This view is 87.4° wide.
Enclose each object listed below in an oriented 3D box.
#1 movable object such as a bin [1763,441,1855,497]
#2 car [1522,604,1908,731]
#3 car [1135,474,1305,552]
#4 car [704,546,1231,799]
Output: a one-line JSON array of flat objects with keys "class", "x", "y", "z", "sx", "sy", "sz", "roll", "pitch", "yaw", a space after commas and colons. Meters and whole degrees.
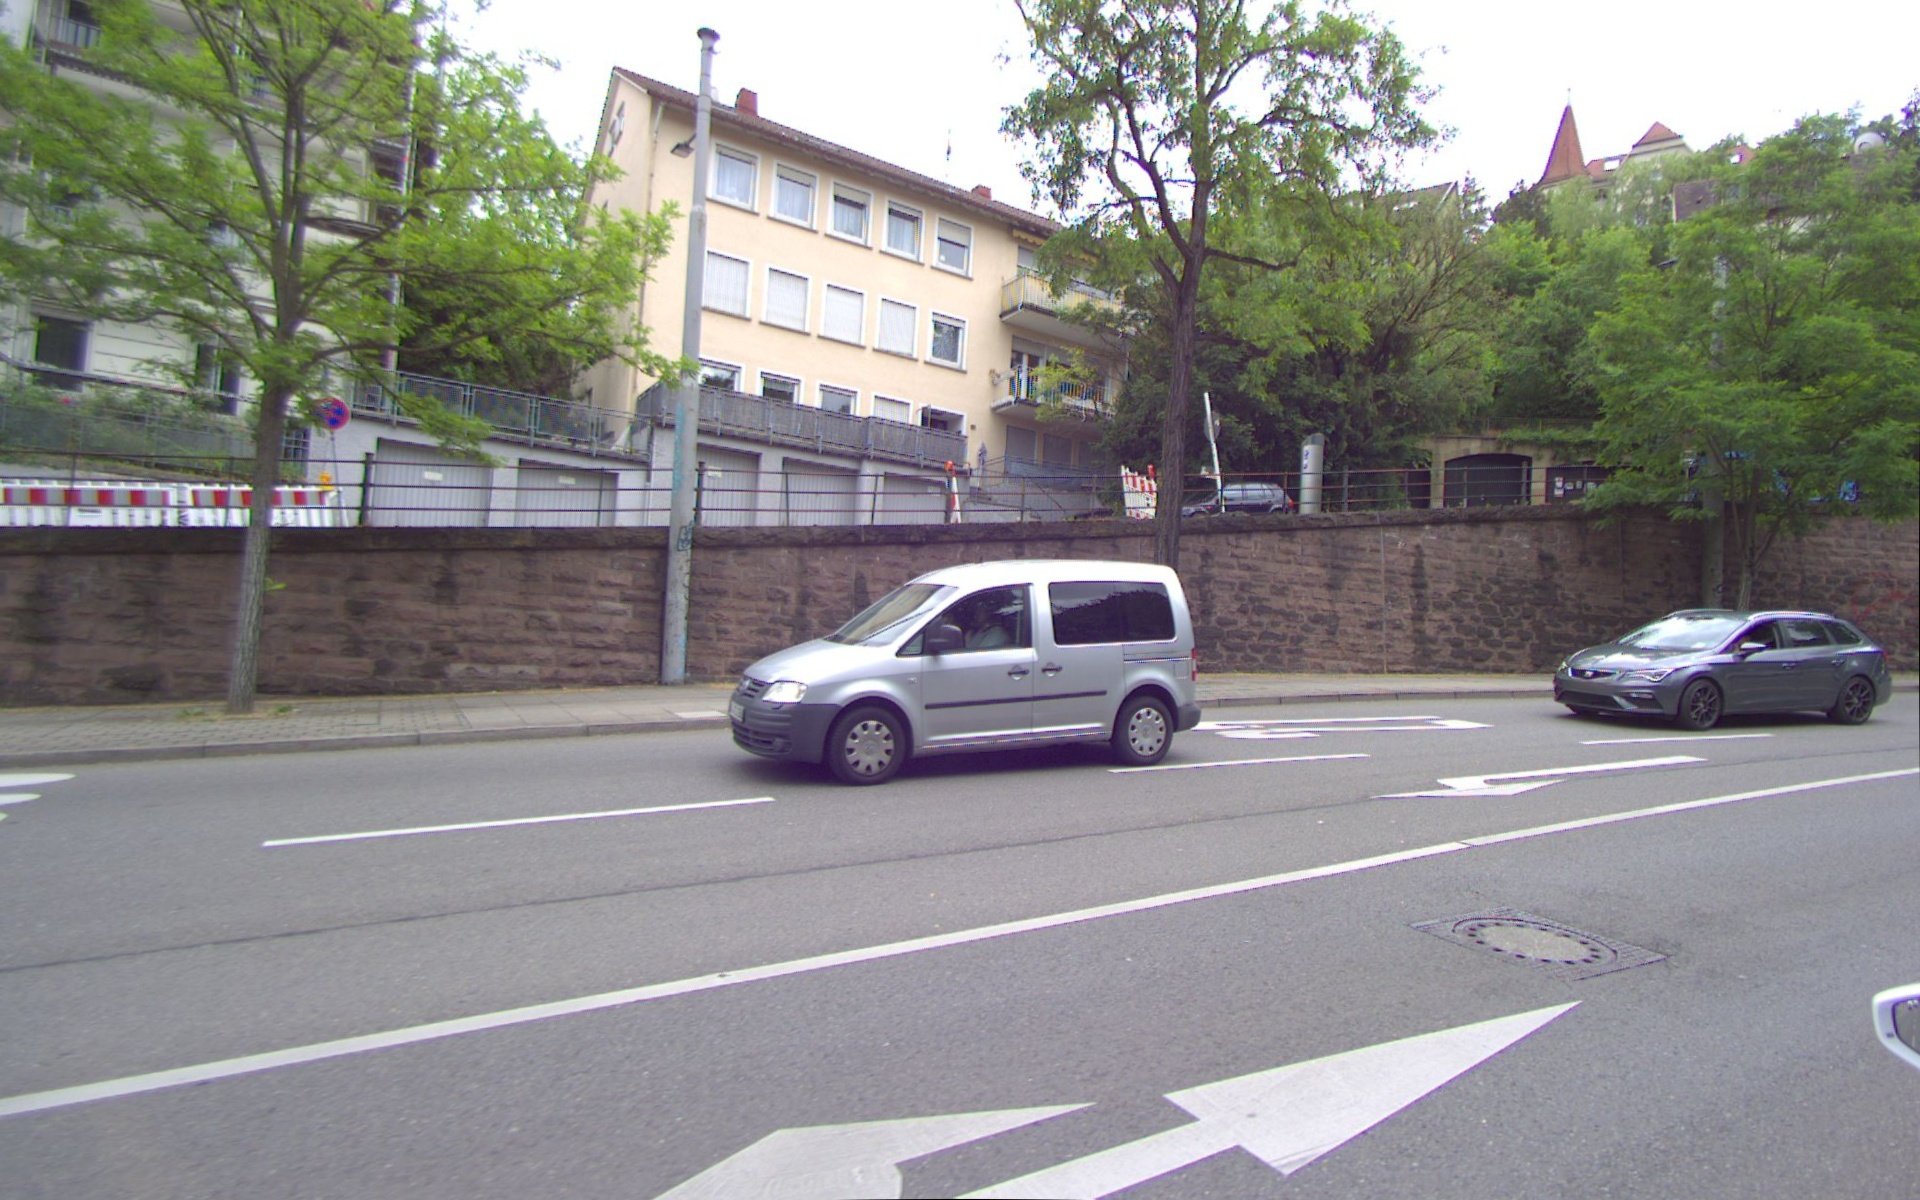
[{"class": "movable object such as a bin", "x": 24.654, "y": -3.792, "z": 29.215, "sx": 1.572, "sy": 1.373, "sz": 1.254, "roll": -1, "pitch": -3, "yaw": 7}, {"class": "car", "x": 9.966, "y": 0.827, "z": 13.350, "sx": 4.328, "sy": 1.486, "sz": 1.784, "roll": 1, "pitch": 0, "yaw": -14}, {"class": "car", "x": 6.812, "y": -2.234, "z": 26.402, "sx": 4.001, "sy": 1.661, "sz": 1.767, "roll": 2, "pitch": -1, "yaw": -19}, {"class": "car", "x": 0.108, "y": 0.539, "z": 9.084, "sx": 4.391, "sy": 1.838, "sz": 1.850, "roll": 1, "pitch": 1, "yaw": -27}]
